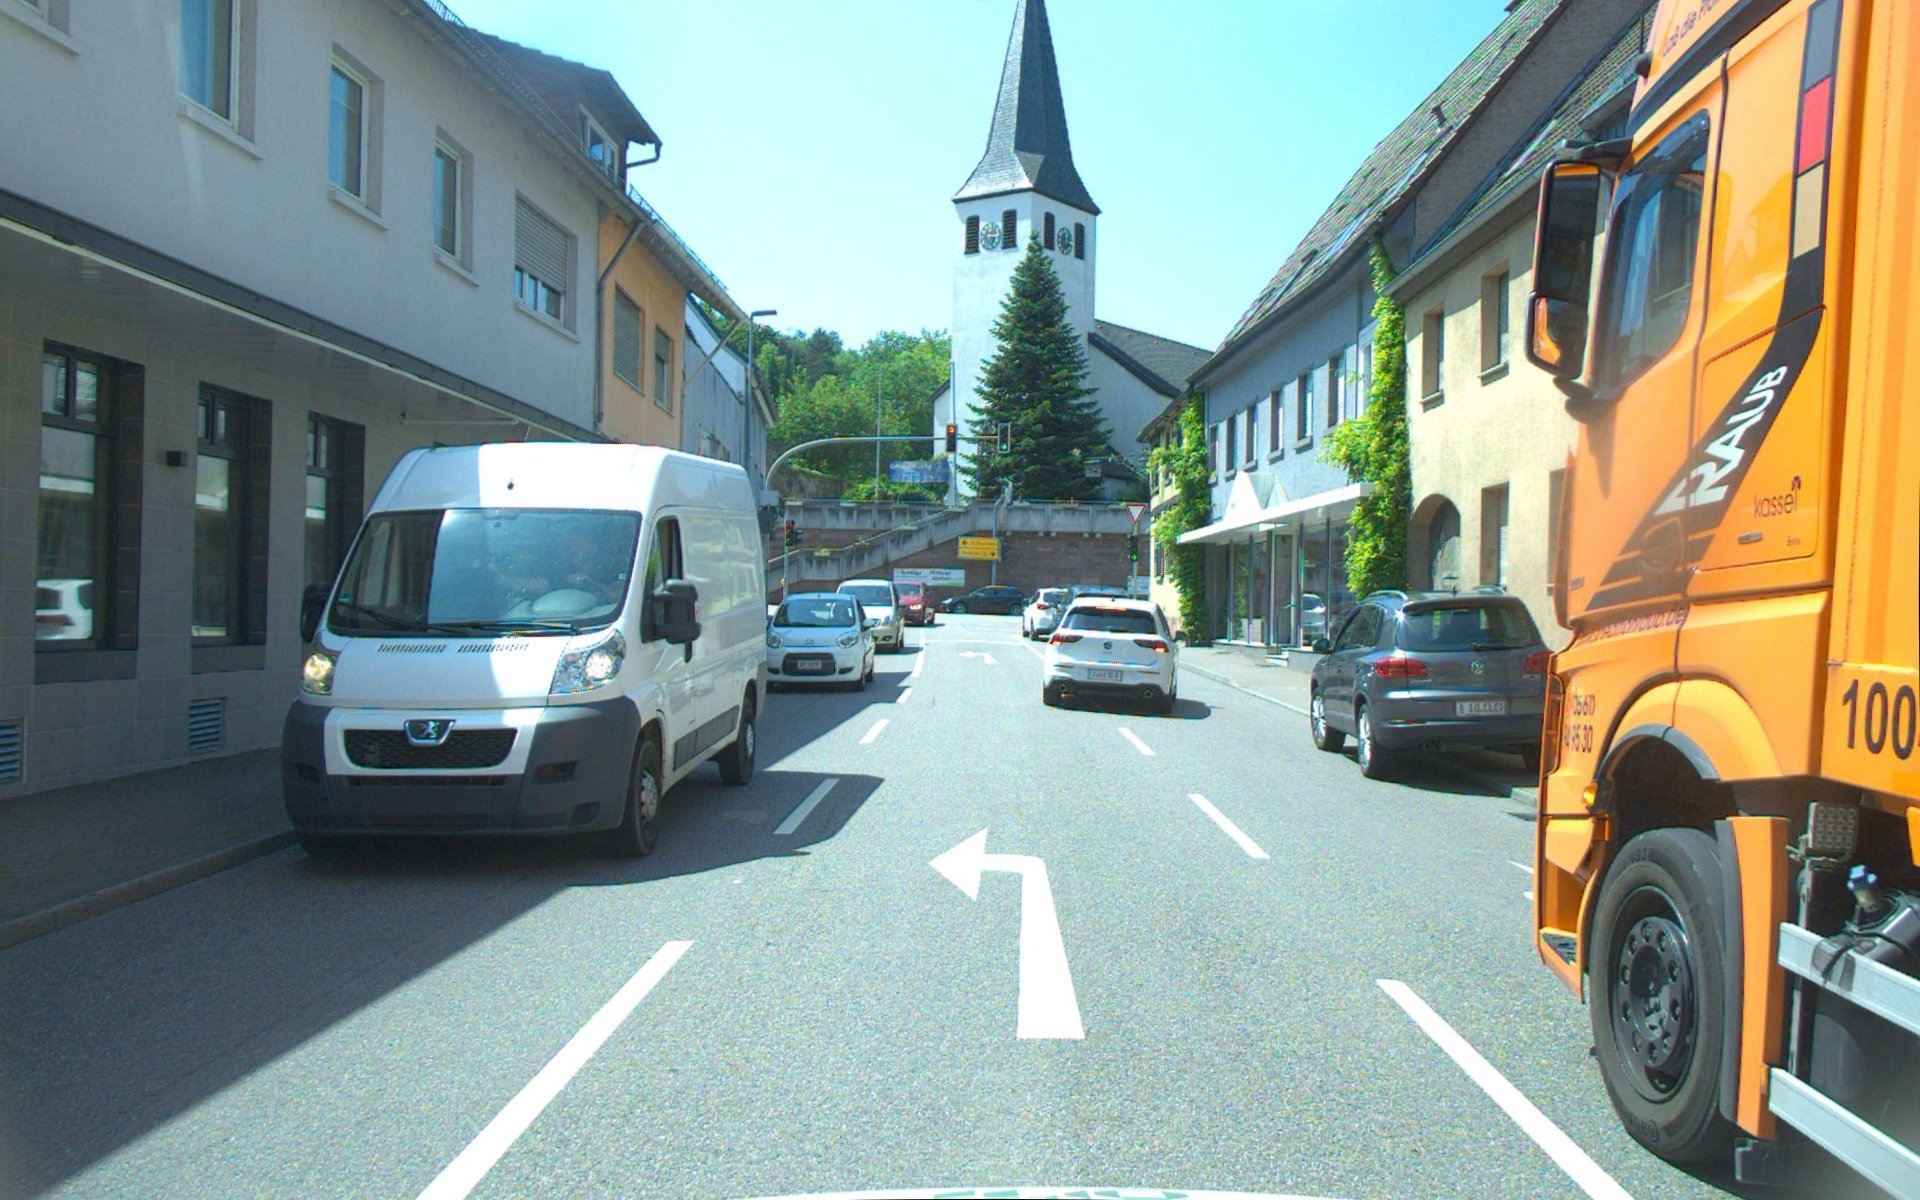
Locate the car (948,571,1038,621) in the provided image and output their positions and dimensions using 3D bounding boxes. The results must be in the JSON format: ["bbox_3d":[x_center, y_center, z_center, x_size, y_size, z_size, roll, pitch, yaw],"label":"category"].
[{"bbox_3d":[1.501,-0.170,76.380,3.907,2.049,1.999,4,-1,-3],"label":"car"}]

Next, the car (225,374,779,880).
[{"bbox_3d":[-2.680,0.129,11.290,2.095,2.614,5.395,0,0,2],"label":"car"}]

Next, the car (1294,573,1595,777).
[{"bbox_3d":[4.611,0.648,16.392,1.952,1.738,4.102,-1,0,3],"label":"car"}]

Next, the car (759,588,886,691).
[{"bbox_3d":[-2.106,0.577,26.090,1.563,1.480,3.448,-1,0,2],"label":"car"}]

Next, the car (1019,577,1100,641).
[{"bbox_3d":[2.816,0.215,47.723,1.910,1.609,4.325,2,2,-2],"label":"car"}]

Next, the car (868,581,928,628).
[{"bbox_3d":[-2.023,0.125,55.268,1.682,1.433,4.286,-1,1,2],"label":"car"}]

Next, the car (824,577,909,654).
[{"bbox_3d":[-2.104,0.314,38.250,1.644,1.645,3.822,-1,1,1],"label":"car"}]

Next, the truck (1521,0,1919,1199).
[{"bbox_3d":[3.241,-0.442,1.246,2.554,4.014,9.995,1,0,2],"label":"truck"}]

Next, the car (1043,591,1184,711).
[{"bbox_3d":[2.221,0.649,23.091,1.745,1.484,3.866,1,0,8],"label":"car"}]

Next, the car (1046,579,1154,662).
[{"bbox_3d":[3.127,0.409,37.680,1.910,1.609,4.325,2,2,-2],"label":"car"}]
